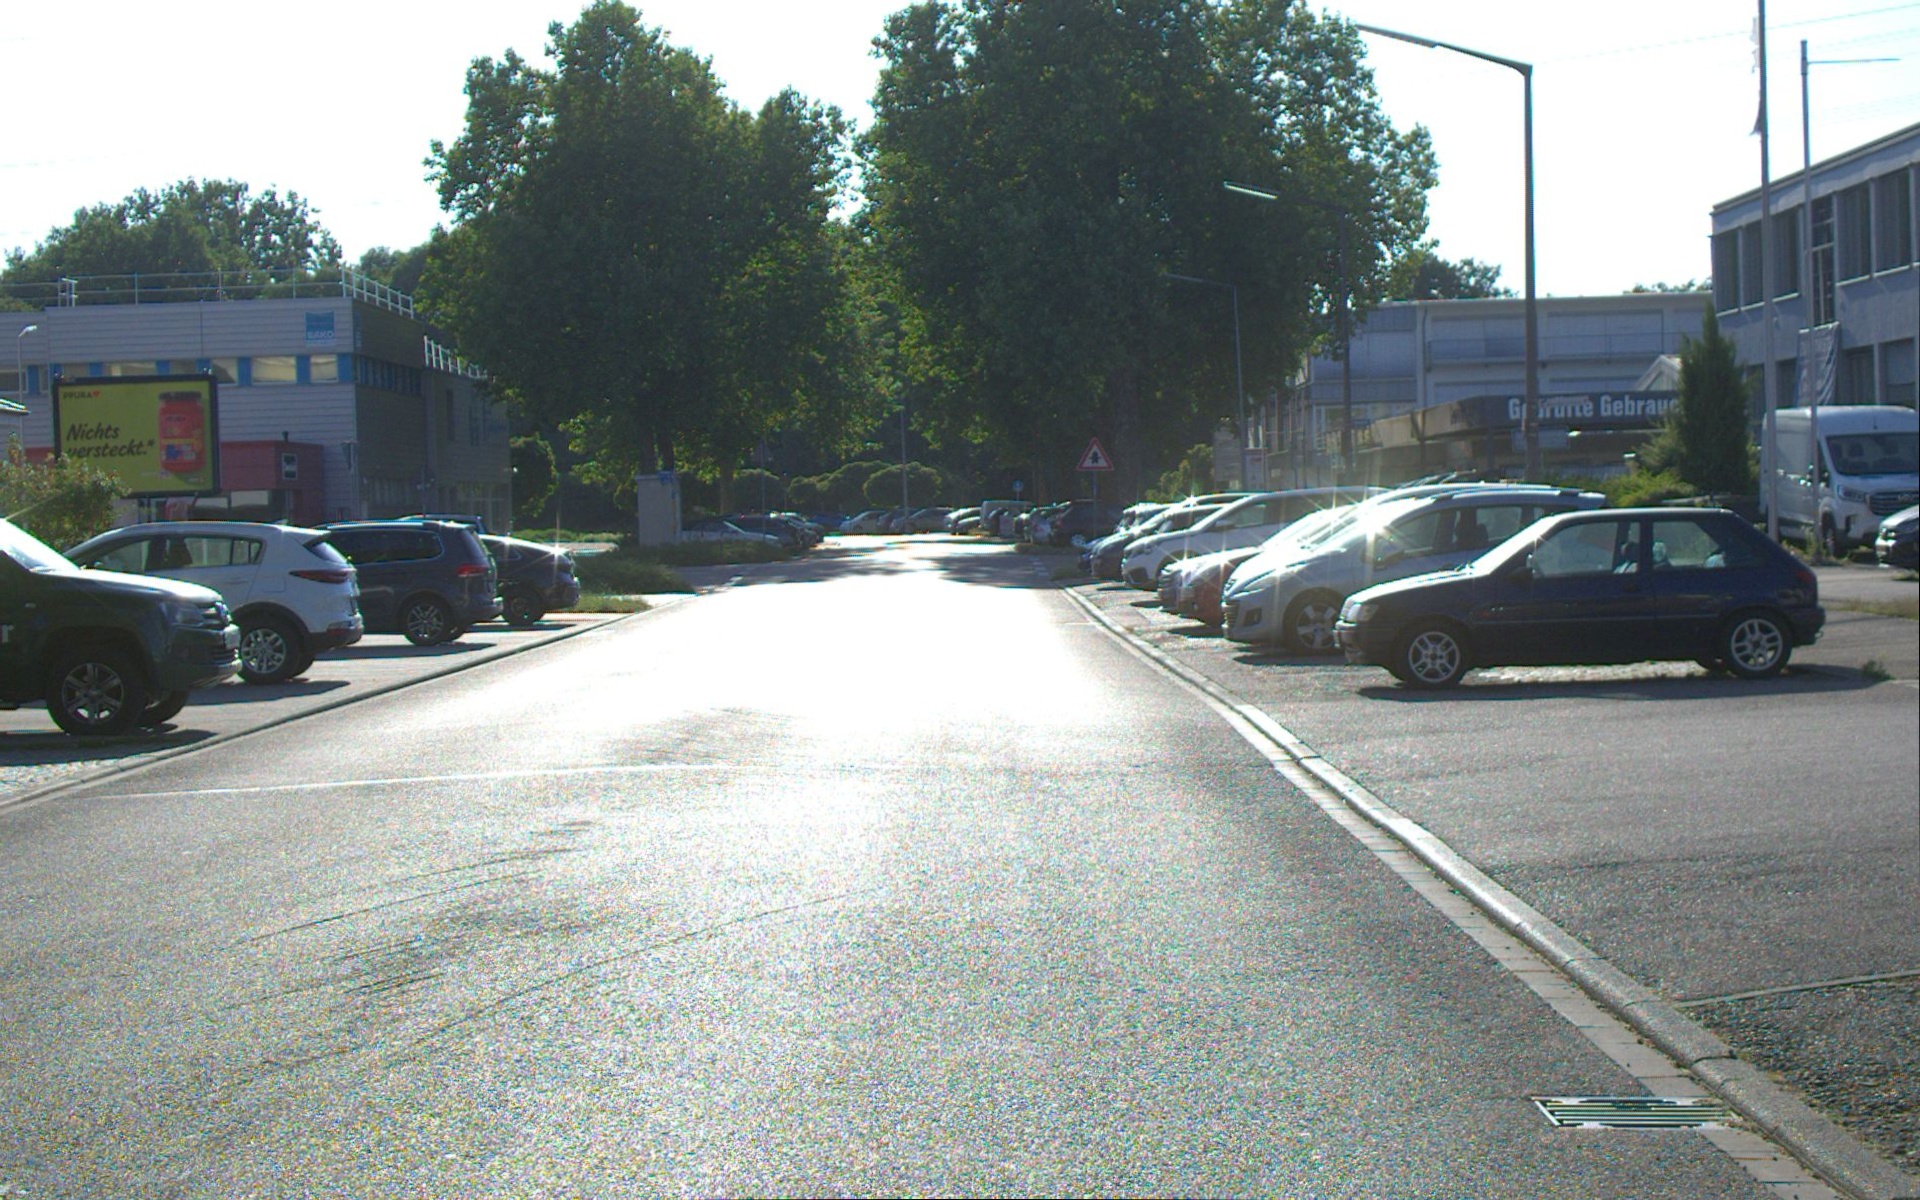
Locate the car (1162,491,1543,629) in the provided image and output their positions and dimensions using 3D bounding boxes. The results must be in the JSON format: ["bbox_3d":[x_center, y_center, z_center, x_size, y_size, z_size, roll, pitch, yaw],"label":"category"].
[{"bbox_3d":[4.671,-0.487,41.197,4.241,1.599,1.746,0,1,-7],"label":"car"}]

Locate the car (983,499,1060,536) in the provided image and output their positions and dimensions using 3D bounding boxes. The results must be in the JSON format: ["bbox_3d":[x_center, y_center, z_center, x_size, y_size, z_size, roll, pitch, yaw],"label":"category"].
[{"bbox_3d":[3.239,-4.367,182.234,3.987,1.770,1.827,-2,1,0],"label":"car"}]

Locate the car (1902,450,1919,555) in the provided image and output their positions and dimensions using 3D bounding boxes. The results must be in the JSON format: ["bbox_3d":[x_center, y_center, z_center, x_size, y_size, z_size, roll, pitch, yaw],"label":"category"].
[{"bbox_3d":[17.445,-1.661,58.043,1.993,1.793,4.000,0,1,0],"label":"car"}]

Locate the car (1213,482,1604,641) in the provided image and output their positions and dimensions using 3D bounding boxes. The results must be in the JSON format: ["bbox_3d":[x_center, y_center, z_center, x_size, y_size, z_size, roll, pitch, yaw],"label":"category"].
[{"bbox_3d":[5.037,-0.446,38.995,4.108,1.734,1.884,0,1,-3],"label":"car"}]

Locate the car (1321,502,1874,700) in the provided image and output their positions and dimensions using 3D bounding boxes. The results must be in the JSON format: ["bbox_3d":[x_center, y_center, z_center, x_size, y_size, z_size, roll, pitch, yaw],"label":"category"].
[{"bbox_3d":[4.903,-0.009,26.866,3.987,1.292,1.784,-3,1,3],"label":"car"}]

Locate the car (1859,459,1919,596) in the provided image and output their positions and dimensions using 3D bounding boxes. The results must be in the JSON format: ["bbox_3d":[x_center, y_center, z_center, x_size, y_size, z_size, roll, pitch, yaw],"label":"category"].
[{"bbox_3d":[14.241,-1.063,45.375,4.144,1.765,2.000,-3,1,1],"label":"car"}]

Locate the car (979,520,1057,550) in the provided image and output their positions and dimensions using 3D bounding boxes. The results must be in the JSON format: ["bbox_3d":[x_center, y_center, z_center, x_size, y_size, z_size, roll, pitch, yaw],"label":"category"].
[{"bbox_3d":[2.999,-3.401,179.374,3.987,1.411,1.827,-2,1,0],"label":"car"}]

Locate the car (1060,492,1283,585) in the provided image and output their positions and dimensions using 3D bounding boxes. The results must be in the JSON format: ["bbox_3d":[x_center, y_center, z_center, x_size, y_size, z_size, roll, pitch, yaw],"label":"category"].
[{"bbox_3d":[4.523,-1.320,73.881,4.523,1.667,1.754,-4,1,-3],"label":"car"}]

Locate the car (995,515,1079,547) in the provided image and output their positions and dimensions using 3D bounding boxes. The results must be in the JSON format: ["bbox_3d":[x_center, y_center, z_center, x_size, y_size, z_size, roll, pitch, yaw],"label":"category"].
[{"bbox_3d":[3.708,-3.335,166.473,3.987,1.411,1.827,-2,1,0],"label":"car"}]

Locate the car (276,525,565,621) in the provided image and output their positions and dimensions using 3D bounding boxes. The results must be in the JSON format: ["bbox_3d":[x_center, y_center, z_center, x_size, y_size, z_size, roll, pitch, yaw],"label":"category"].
[{"bbox_3d":[-8.511,-0.433,54.580,4.313,1.455,2.202,0,1,-2],"label":"car"}]

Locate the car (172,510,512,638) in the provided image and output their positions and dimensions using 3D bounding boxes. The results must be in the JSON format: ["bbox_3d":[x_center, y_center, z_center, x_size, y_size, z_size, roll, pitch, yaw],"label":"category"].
[{"bbox_3d":[-8.237,-0.353,46.138,4.230,1.650,2.202,0,1,-2],"label":"car"}]

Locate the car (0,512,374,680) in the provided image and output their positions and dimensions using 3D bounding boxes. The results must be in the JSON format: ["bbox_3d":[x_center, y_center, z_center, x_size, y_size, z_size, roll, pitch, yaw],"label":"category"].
[{"bbox_3d":[-8.352,-0.051,35.444,4.302,1.650,2.202,0,1,-2],"label":"car"}]

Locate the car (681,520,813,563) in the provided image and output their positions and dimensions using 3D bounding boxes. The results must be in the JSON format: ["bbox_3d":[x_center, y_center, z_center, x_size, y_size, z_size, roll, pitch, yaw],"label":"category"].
[{"bbox_3d":[-7.204,-1.972,116.164,4.415,1.398,2.000,0,1,-5],"label":"car"}]

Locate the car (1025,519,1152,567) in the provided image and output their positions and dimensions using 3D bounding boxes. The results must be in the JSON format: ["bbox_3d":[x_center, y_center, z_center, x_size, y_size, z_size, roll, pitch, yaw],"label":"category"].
[{"bbox_3d":[4.145,-1.843,111.002,3.987,1.411,1.827,-2,1,0],"label":"car"}]

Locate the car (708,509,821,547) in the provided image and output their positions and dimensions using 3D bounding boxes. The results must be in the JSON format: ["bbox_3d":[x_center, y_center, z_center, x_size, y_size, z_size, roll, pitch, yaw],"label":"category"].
[{"bbox_3d":[-7.895,-2.907,139.384,4.415,1.511,2.000,0,1,2],"label":"car"}]

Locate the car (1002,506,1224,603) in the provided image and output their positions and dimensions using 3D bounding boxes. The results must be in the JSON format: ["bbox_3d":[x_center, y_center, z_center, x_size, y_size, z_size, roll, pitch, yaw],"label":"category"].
[{"bbox_3d":[2.933,-0.868,65.426,3.988,1.608,1.999,-3,0,7],"label":"car"}]

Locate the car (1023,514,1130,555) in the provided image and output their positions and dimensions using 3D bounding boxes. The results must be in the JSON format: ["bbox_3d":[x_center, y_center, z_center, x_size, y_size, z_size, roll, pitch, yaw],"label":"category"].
[{"bbox_3d":[4.443,-2.507,131.876,3.987,1.411,1.827,-2,1,0],"label":"car"}]

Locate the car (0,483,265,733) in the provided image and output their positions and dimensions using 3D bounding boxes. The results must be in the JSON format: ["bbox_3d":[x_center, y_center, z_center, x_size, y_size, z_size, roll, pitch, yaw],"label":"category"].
[{"bbox_3d":[-8.357,0.059,27.195,5.259,1.892,2.202,0,1,0],"label":"car"}]

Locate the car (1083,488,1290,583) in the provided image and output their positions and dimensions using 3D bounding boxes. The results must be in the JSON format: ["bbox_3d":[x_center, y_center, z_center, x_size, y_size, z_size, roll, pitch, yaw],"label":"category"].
[{"bbox_3d":[4.641,-1.326,70.786,3.987,1.646,1.743,-4,1,-2],"label":"car"}]

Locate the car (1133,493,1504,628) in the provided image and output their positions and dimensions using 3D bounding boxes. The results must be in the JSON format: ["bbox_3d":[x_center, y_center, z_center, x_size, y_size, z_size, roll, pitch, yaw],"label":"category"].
[{"bbox_3d":[4.538,-0.516,44.047,4.437,1.431,2.135,-3,1,0],"label":"car"}]

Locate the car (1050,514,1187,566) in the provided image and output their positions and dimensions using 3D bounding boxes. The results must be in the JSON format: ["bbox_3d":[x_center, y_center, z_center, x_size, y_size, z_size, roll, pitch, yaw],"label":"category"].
[{"bbox_3d":[4.758,-1.799,103.654,3.987,1.411,2.000,-2,1,0],"label":"car"}]

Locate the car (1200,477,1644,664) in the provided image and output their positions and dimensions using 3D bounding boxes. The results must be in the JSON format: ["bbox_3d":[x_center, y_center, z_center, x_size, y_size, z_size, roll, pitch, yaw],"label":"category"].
[{"bbox_3d":[4.514,-0.302,33.992,3.986,1.582,1.868,-3,1,-3],"label":"car"}]

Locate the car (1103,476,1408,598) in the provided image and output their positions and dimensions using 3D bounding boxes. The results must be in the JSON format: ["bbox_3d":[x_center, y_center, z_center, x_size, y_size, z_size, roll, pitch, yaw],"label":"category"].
[{"bbox_3d":[4.726,-1.012,55.515,4.554,1.592,2.202,-5,1,-2],"label":"car"}]

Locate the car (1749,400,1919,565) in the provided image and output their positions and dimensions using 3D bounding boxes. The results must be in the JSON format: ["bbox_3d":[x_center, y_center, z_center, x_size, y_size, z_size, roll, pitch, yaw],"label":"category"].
[{"bbox_3d":[14.908,-1.911,57.528,1.993,2.616,6.137,0,1,0],"label":"car"}]
